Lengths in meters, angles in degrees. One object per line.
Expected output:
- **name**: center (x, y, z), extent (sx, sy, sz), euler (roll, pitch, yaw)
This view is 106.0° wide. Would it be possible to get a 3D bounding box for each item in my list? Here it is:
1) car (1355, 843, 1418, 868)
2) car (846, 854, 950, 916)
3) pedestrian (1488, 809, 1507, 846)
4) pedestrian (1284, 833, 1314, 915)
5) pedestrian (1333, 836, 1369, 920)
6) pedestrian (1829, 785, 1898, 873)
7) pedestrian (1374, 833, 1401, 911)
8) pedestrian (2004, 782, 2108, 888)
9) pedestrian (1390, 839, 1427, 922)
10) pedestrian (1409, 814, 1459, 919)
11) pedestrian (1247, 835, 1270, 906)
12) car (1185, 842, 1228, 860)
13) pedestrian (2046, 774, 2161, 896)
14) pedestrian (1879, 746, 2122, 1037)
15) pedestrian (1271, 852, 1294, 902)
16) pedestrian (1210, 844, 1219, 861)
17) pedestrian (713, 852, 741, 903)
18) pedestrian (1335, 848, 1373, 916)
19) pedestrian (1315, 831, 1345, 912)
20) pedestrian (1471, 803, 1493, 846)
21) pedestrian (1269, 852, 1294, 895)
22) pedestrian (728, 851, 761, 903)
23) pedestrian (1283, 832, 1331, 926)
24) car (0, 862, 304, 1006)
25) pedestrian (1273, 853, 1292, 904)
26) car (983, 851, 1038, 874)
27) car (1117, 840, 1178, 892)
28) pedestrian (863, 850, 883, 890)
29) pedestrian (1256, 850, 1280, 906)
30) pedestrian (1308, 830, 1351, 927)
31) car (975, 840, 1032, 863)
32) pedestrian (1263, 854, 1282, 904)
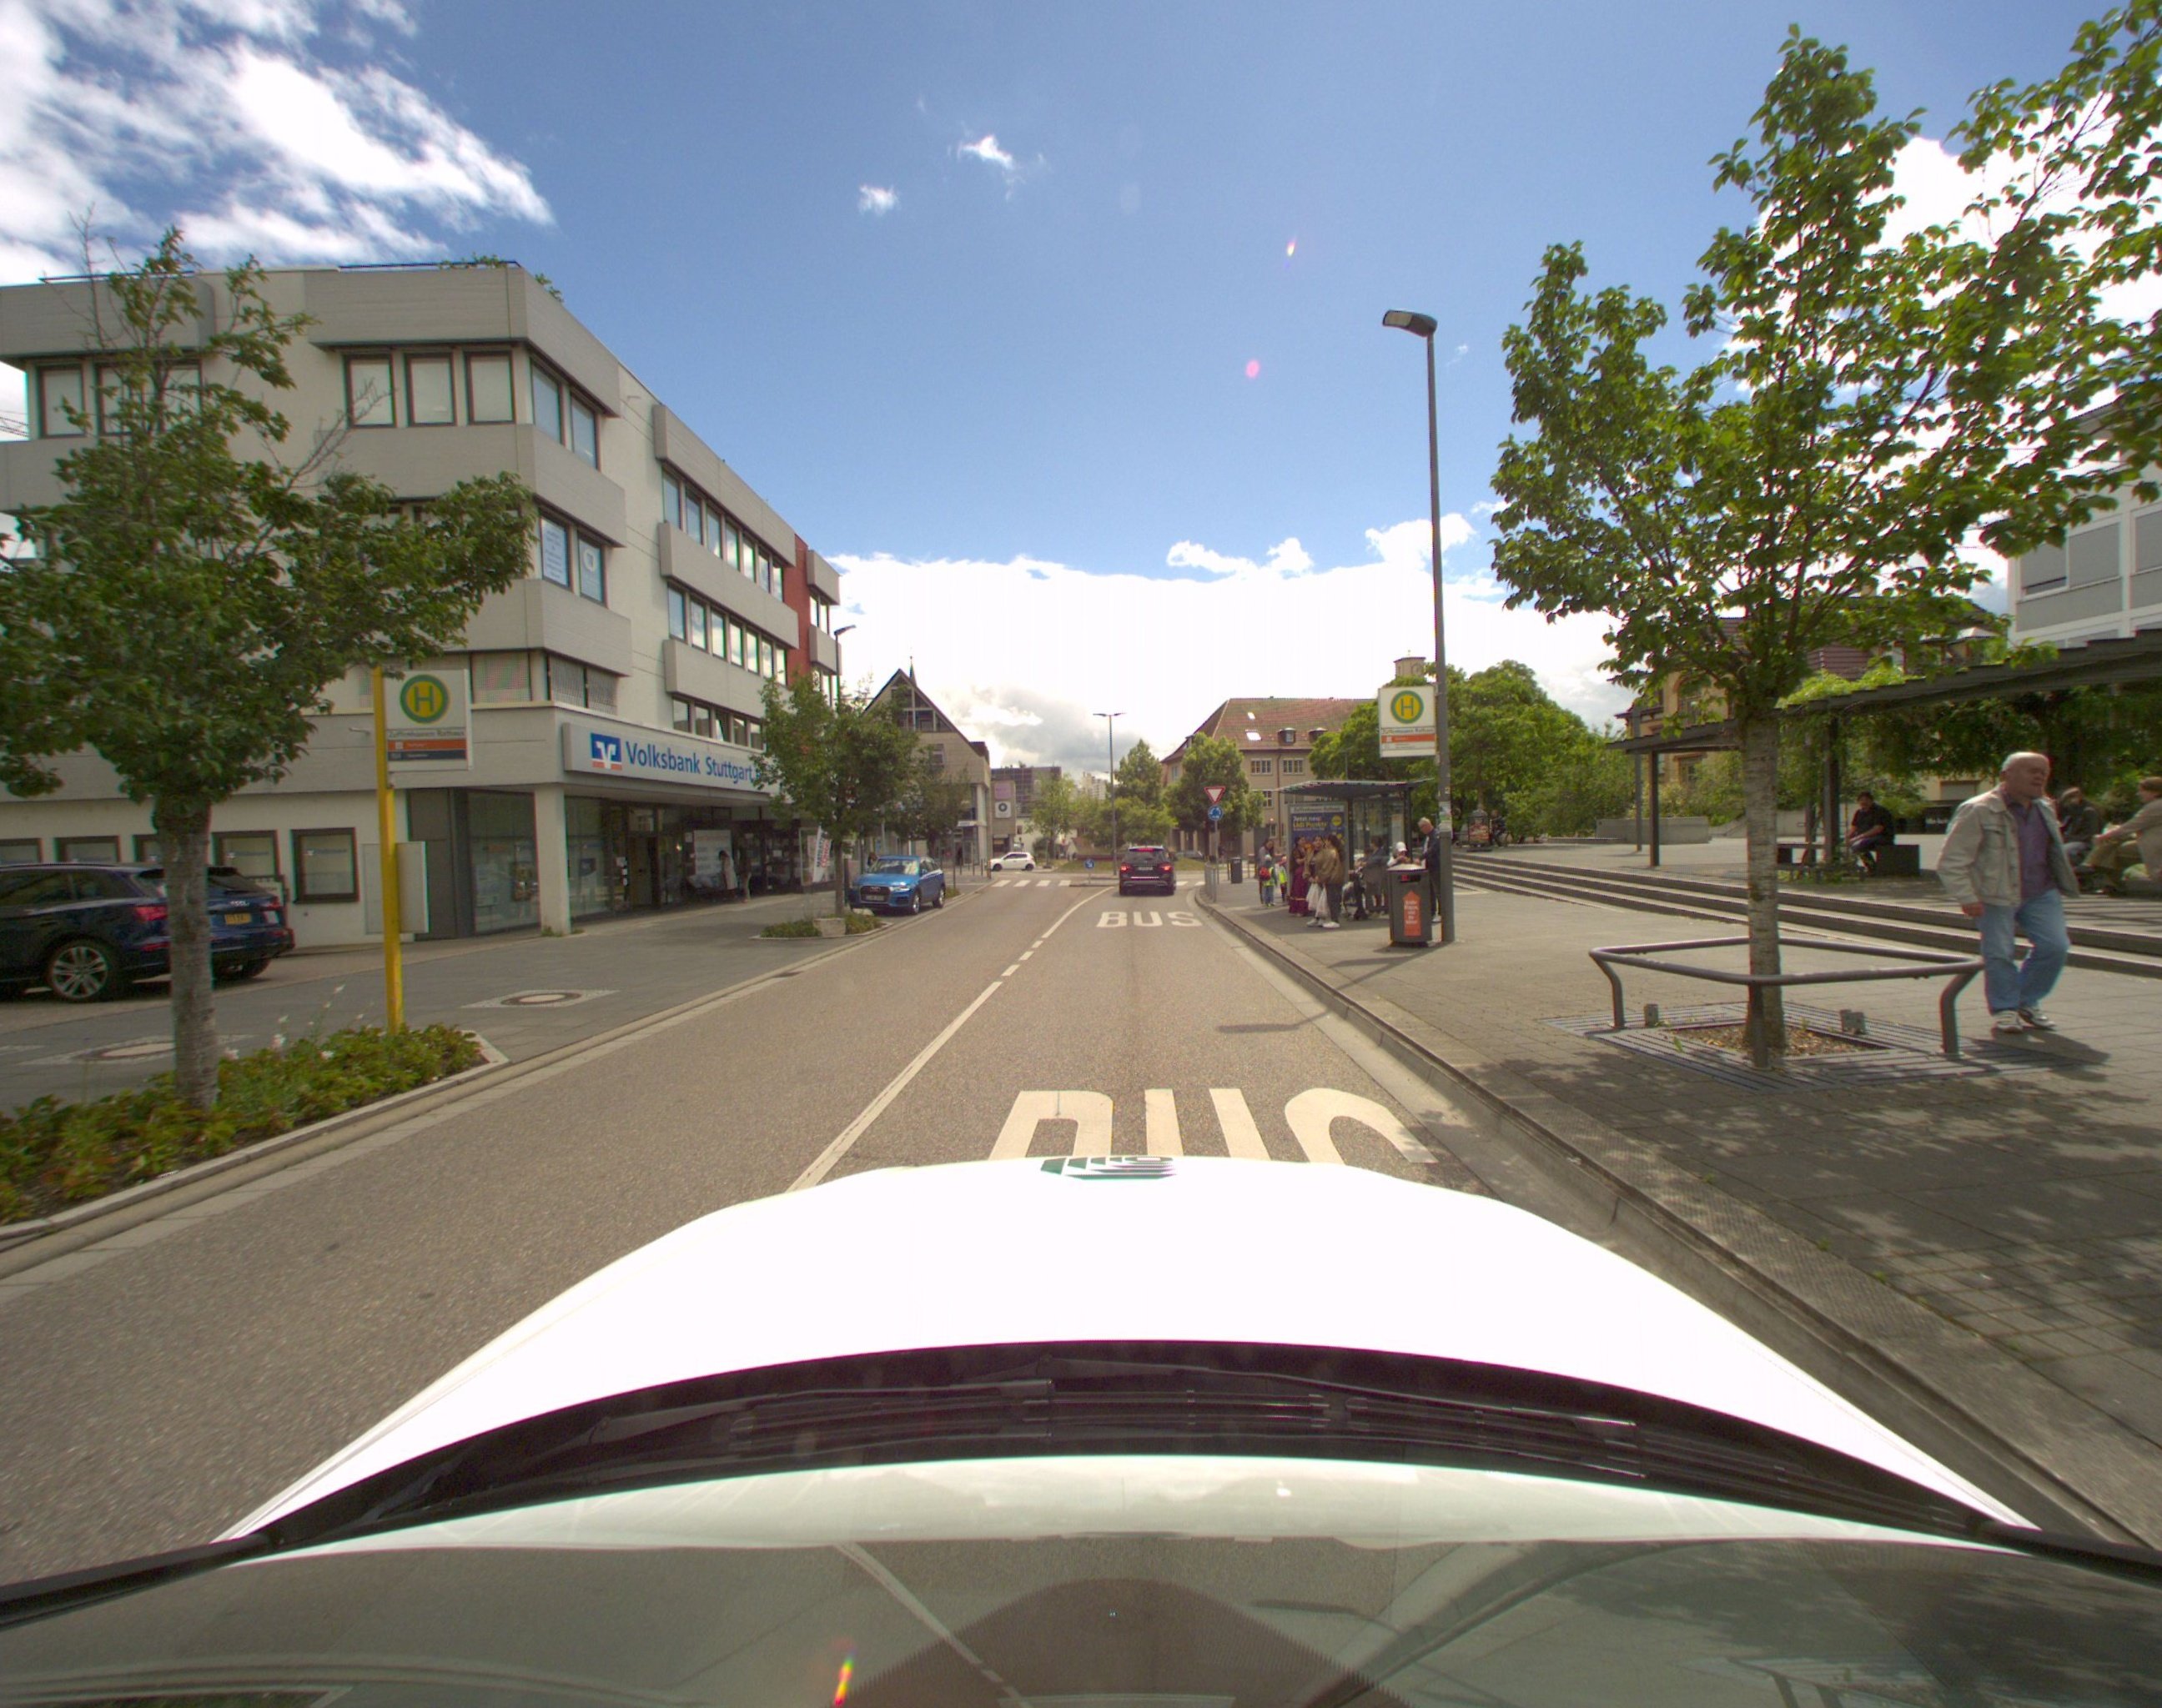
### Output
- **car**: center (22.500, 0.090, 60.113), extent (4.221, 1.576, 1.858), euler (-3, 0, 18)
- **car**: center (-5.155, 0.811, 23.544), extent (1.686, 1.599, 4.337), euler (1, 0, 5)
- **pedestrian**: center (14.798, -0.921, 28.931), extent (0.361, 1.285, 0.642), euler (-2, 1, 7)
- **pedestrian**: center (4.276, 0.392, 15.998), extent (0.493, 1.566, 0.503), euler (-3, 0, 13)
- **pedestrian**: center (4.775, 0.413, 14.418), extent (0.376, 1.442, 0.415), euler (-4, 0, -4)
- **pedestrian**: center (12.265, -0.385, 12.783), extent (0.564, 1.323, 0.547), euler (-1, 0, 12)
- **pedestrian**: center (5.819, 0.340, 15.462), extent (0.274, 1.458, 0.319), euler (-3, 0, -11)
- **pedestrian**: center (11.739, -0.228, 9.826), extent (0.564, 1.227, 0.568), euler (-1, 0, 12)
- **pedestrian**: center (5.335, 0.427, 13.293), extent (0.388, 1.306, 0.355), euler (-4, 0, 4)
- **pedestrian**: center (5.841, 0.209, 13.501), extent (0.509, 1.680, 0.577), euler (-3, 0, 2)
- **pedestrian**: center (4.149, 0.373, 19.087), extent (0.384, 1.619, 0.470), euler (-4, 0, 9)
- **car**: center (12.428, -0.293, 80.618), extent (3.884, 1.531, 1.648), euler (-3, 0, -20)
- **pedestrian**: center (11.382, -0.209, 8.929), extent (0.672, 1.269, 0.770), euler (-1, 0, -2)
- **pedestrian**: center (5.714, 0.225, 5.118), extent (0.680, 1.682, 0.717), euler (-2, 0, 13)
- **pedestrian**: center (4.784, 0.539, 19.356), extent (0.320, 1.152, 0.318), euler (-4, 0, -37)
- **pedestrian**: center (12.465, -0.124, 75.883), extent (0.580, 1.523, 0.631), euler (-5, 6, -41)
- **pedestrian**: center (-11.252, 0.745, 25.878), extent (0.508, 1.566, 0.587), euler (-3, 0, 3)
- **pedestrian**: center (5.028, 0.502, 15.027), extent (0.376, 1.211, 0.633), euler (-4, 0, -4)
- **pedestrian**: center (4.916, 0.340, 16.095), extent (0.389, 1.566, 0.354), euler (-3, 0, 39)
- **pedestrian**: center (14.160, -1.036, 28.744), extent (0.500, 1.508, 0.455), euler (-2, 1, 3)
- **pedestrian**: center (5.547, 0.540, 22.551), extent (0.470, 1.172, 0.393), euler (-4, 0, 40)
- **pedestrian**: center (-10.444, 0.697, 25.262), extent (0.579, 1.566, 0.649), euler (-3, 0, 25)
- **pedestrian**: center (3.864, 0.424, 13.917), extent (0.489, 1.549, 0.537), euler (-3, 0, -44)
- **car**: center (-12.180, 0.923, 9.937), extent (3.621, 1.558, 1.666), euler (-1, 0, -5)
- **pedestrian**: center (4.683, 0.566, 18.956), extent (0.296, 1.152, 0.293), euler (-4, 0, 1)
- **car**: center (-5.442, 0.629, 62.546), extent (3.884, 1.531, 1.648), euler (-3, 0, -20)
- **car**: center (2.351, 0.462, 29.873), extent (2.019, 1.727, 4.435), euler (-1, -2, 3)
- **pedestrian**: center (-8.539, 0.649, 33.433), extent (0.584, 1.588, 0.639), euler (-1, 0, 3)
- **pedestrian**: center (4.268, 0.541, 18.540), extent (0.399, 1.226, 0.390), euler (-3, 0, 24)
- **pedestrian**: center (4.090, 0.402, 13.400), extent (0.508, 1.549, 0.490), euler (-3, 0, 28)
- **car**: center (-8.972, -0.264, 94.489), extent (6.304, 2.560, 2.192), euler (0, -3, -19)
- **pedestrian**: center (4.491, 0.583, 19.118), extent (0.266, 1.160, 0.268), euler (-4, 0, -42)
